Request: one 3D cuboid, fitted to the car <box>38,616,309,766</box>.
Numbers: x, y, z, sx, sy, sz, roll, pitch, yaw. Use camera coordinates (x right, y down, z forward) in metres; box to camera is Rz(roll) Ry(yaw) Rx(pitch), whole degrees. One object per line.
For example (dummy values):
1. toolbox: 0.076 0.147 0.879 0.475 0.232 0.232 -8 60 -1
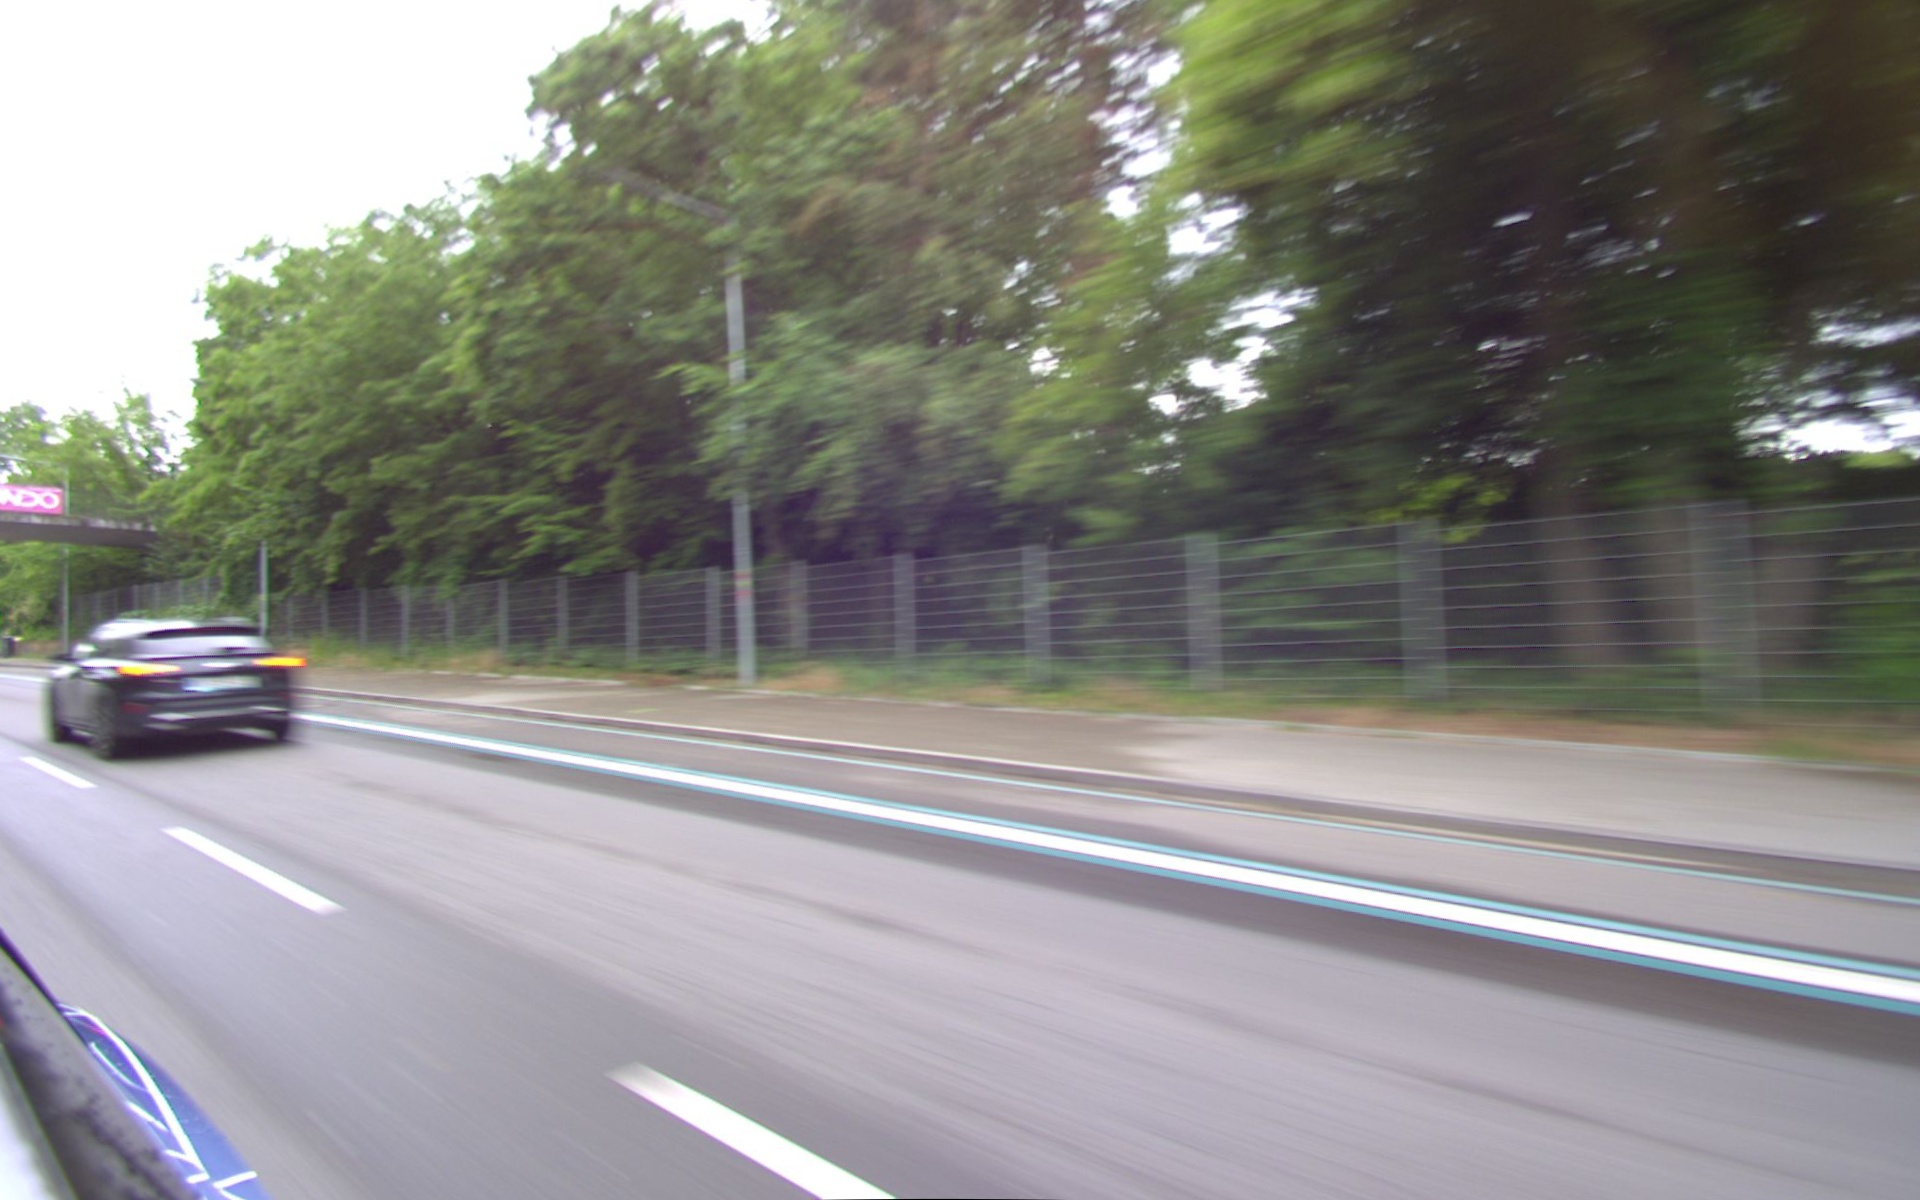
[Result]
1. car: -9.396 0.952 11.969 4.148 1.448 1.742 -2 -1 40
